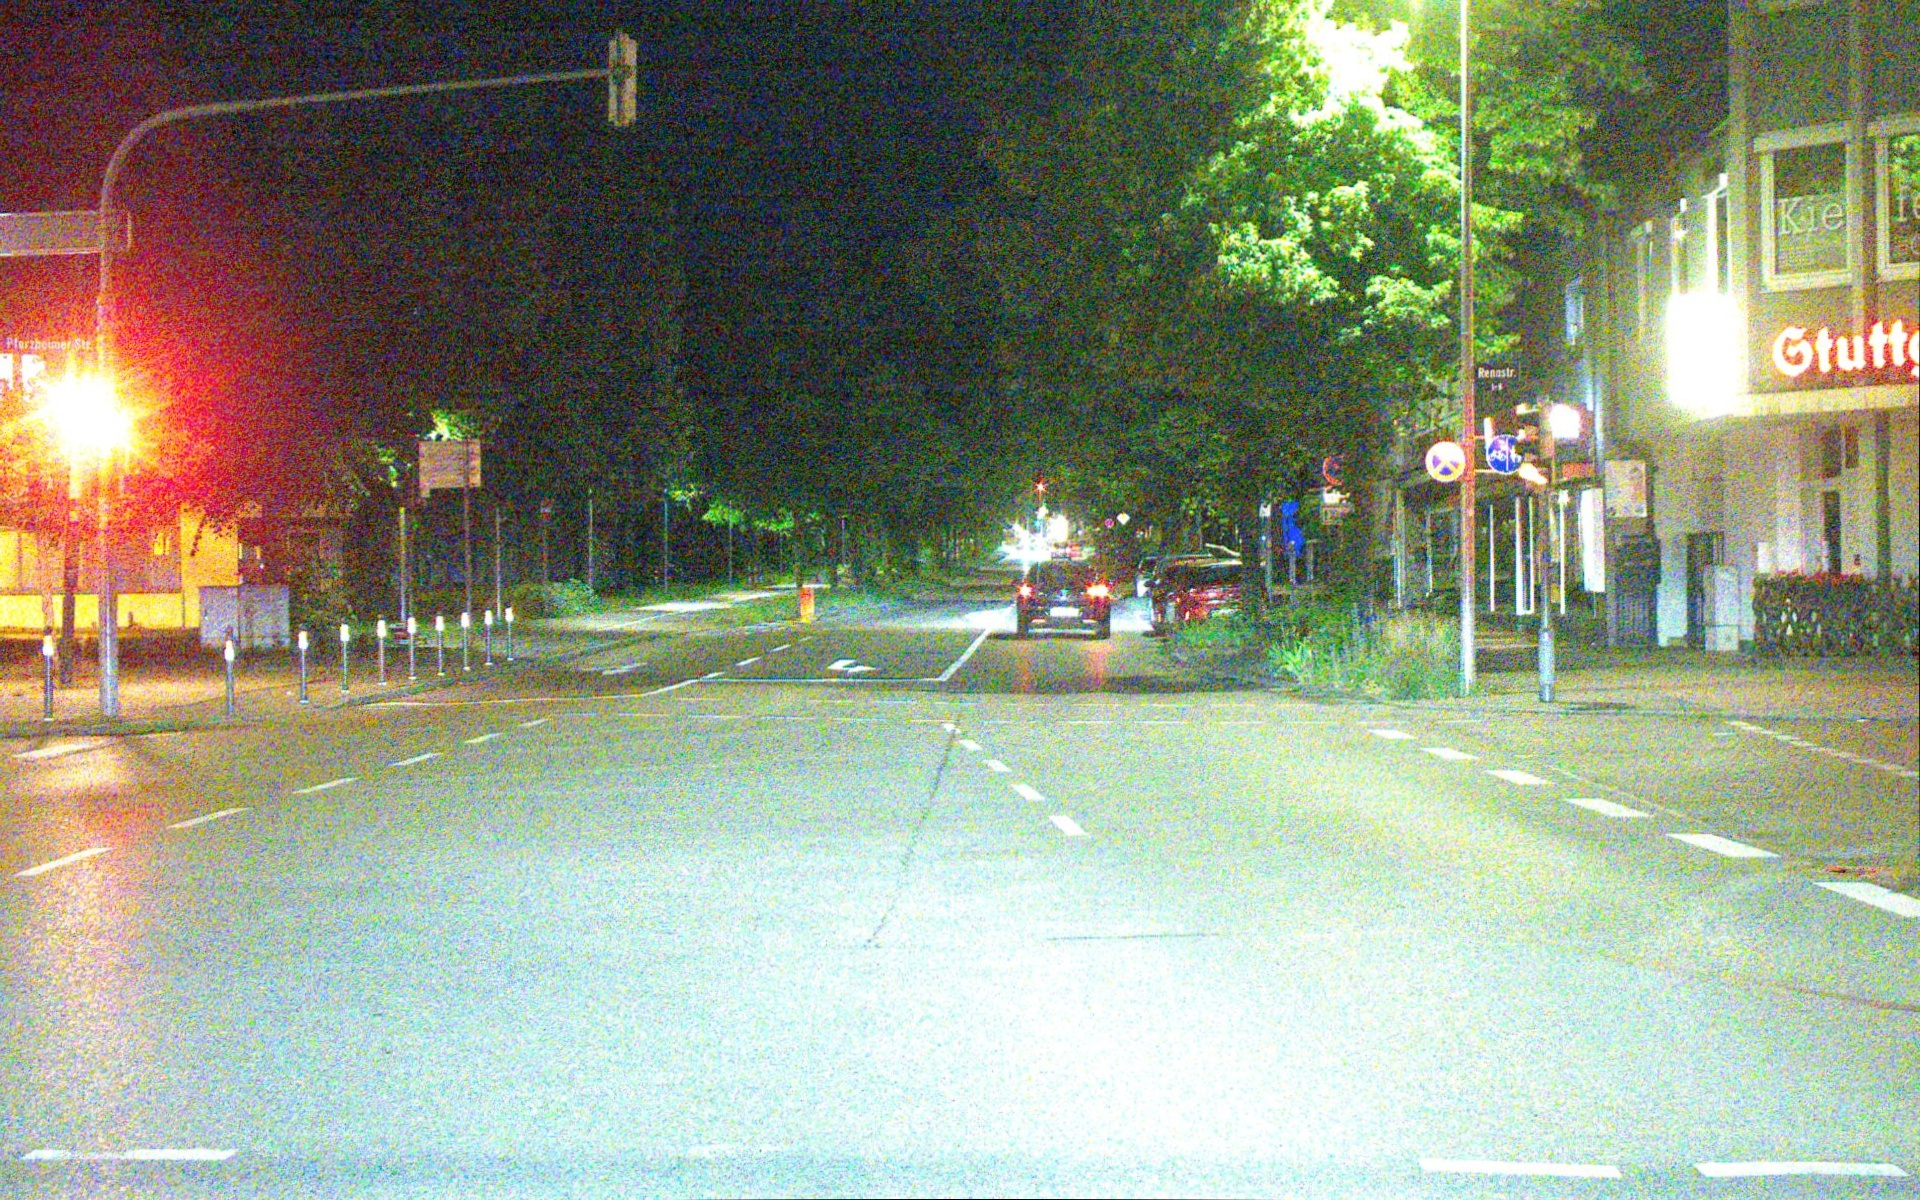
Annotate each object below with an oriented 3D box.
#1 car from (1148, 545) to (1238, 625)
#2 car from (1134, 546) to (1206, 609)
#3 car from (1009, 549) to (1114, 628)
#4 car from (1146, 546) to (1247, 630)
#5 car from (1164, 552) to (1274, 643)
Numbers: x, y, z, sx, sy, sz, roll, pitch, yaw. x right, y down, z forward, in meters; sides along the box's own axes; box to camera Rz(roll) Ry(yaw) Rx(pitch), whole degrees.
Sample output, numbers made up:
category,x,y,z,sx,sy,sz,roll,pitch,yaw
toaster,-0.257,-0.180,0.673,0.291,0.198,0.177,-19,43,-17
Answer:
category,x,y,z,sx,sy,sz,roll,pitch,yaw
car,5.163,-0.341,76.478,1.876,1.723,4.000,0,1,2
car,5.743,-0.631,94.513,1.876,1.678,4.000,0,1,2
car,1.985,-0.233,66.300,1.874,1.449,4.316,1,1,4
car,4.704,-0.261,68.807,1.876,1.610,4.000,0,1,2
car,4.748,-0.069,63.511,1.876,1.610,4.000,0,1,2
